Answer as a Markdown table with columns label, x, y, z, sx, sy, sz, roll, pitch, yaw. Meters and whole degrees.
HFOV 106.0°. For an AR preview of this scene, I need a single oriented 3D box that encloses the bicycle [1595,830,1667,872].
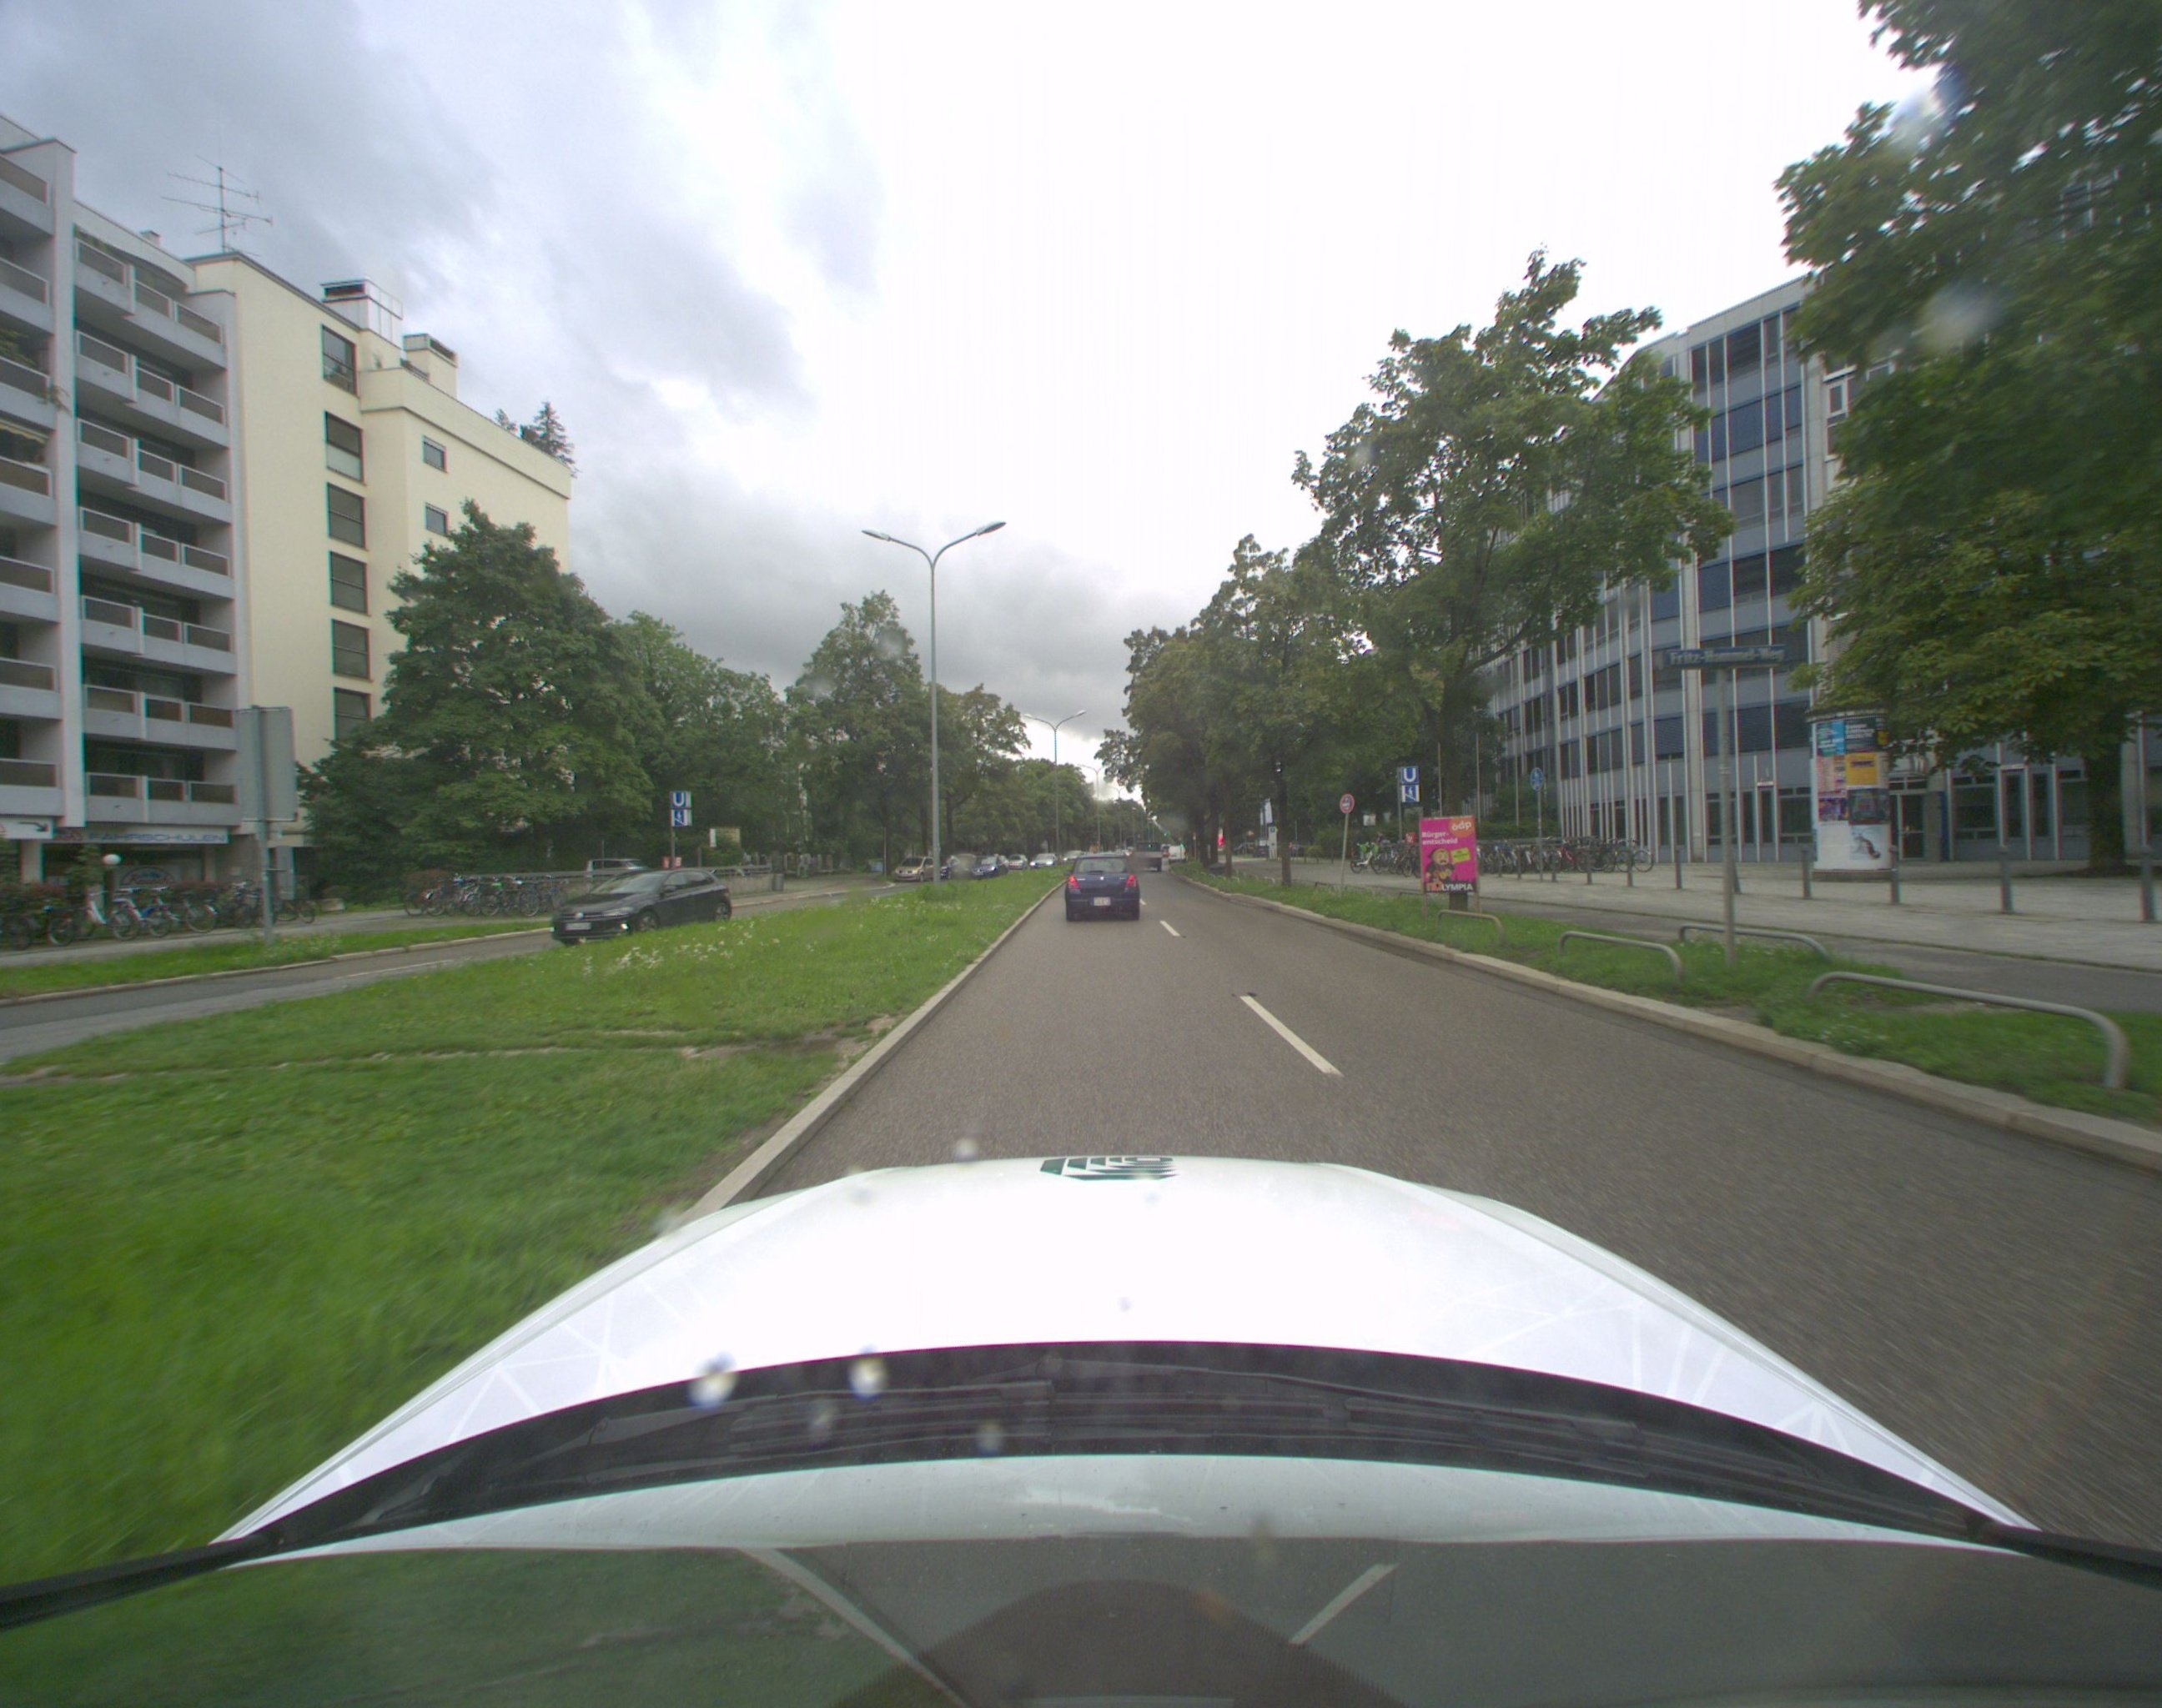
| label | x | y | z | sx | sy | sz | roll | pitch | yaw |
| --- | --- | --- | --- | --- | --- | --- | --- | --- | --- |
| bicycle | 18.025 | -0.094 | 26.769 | 0.507 | 1.294 | 2.475 | -2 | 0 | -4 |

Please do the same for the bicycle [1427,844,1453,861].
| label | x | y | z | sx | sy | sz | roll | pitch | yaw |
| --- | --- | --- | --- | --- | --- | --- | --- | --- | --- |
| bicycle | 19.687 | -0.071 | 44.702 | 0.680 | 0.853 | 1.836 | -2 | 1 | 2 |

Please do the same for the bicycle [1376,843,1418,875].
| label | x | y | z | sx | sy | sz | roll | pitch | yaw |
| --- | --- | --- | --- | --- | --- | --- | --- | --- | --- |
| bicycle | 12.467 | 0.181 | 32.073 | 1.964 | 1.083 | 0.590 | -5 | 2 | -38 |

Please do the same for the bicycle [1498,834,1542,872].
| label | x | y | z | sx | sy | sz | roll | pitch | yaw |
| --- | --- | --- | --- | --- | --- | --- | --- | --- | --- |
| bicycle | 14.559 | -0.035 | 27.078 | 0.485 | 1.189 | 1.956 | -2 | 0 | 4 |

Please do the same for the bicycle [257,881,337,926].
| label | x | y | z | sx | sy | sz | roll | pitch | yaw |
| --- | --- | --- | --- | --- | --- | --- | --- | --- | --- |
| bicycle | -21.433 | 1.345 | 22.274 | 1.936 | 1.103 | 0.490 | 2 | 1 | 10 |

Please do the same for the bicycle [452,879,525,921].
| label | x | y | z | sx | sy | sz | roll | pitch | yaw |
| --- | --- | --- | --- | --- | --- | --- | --- | --- | --- |
| bicycle | -17.180 | 1.298 | 23.674 | 0.405 | 1.072 | 1.959 | 2 | 1 | 9 |

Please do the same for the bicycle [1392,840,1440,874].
| label | x | y | z | sx | sy | sz | roll | pitch | yaw |
| --- | --- | --- | --- | --- | --- | --- | --- | --- | --- |
| bicycle | 12.221 | 0.094 | 29.676 | 2.051 | 1.089 | 0.598 | -4 | -2 | -38 |

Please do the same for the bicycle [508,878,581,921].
| label | x | y | z | sx | sy | sz | roll | pitch | yaw |
| --- | --- | --- | --- | --- | --- | --- | --- | --- | --- |
| bicycle | -15.445 | 1.294 | 23.518 | 0.405 | 1.089 | 2.090 | 2 | 1 | 9 |

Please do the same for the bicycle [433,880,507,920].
| label | x | y | z | sx | sy | sz | roll | pitch | yaw |
| --- | --- | --- | --- | --- | --- | --- | --- | --- | --- |
| bicycle | -17.762 | 1.316 | 23.726 | 0.405 | 1.030 | 1.959 | 2 | 1 | 9 |

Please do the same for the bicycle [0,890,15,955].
| label | x | y | z | sx | sy | sz | roll | pitch | yaw |
| --- | --- | --- | --- | --- | --- | --- | --- | --- | --- |
| bicycle | -23.171 | 1.312 | 16.283 | 3.306 | 1.283 | 0.790 | 2 | 1 | 10 |

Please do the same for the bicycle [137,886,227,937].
| label | x | y | z | sx | sy | sz | roll | pitch | yaw |
| --- | --- | --- | --- | --- | --- | --- | --- | --- | --- |
| bicycle | -21.902 | 1.391 | 19.852 | 1.936 | 1.103 | 0.490 | 2 | 1 | 10 |

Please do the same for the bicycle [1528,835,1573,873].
| label | x | y | z | sx | sy | sz | roll | pitch | yaw |
| --- | --- | --- | --- | --- | --- | --- | --- | --- | --- |
| bicycle | 15.389 | -0.008 | 26.742 | 0.443 | 1.189 | 1.956 | -2 | 0 | 4 |

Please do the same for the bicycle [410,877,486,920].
| label | x | y | z | sx | sy | sz | roll | pitch | yaw |
| --- | --- | --- | --- | --- | --- | --- | --- | --- | --- |
| bicycle | -18.351 | 1.271 | 23.667 | 0.405 | 1.103 | 1.959 | 2 | 1 | 9 |

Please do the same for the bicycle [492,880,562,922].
| label | x | y | z | sx | sy | sz | roll | pitch | yaw |
| --- | --- | --- | --- | --- | --- | --- | --- | --- | --- |
| bicycle | -15.973 | 1.331 | 23.531 | 0.405 | 1.078 | 1.959 | 2 | 1 | 9 |

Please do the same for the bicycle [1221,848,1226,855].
| label | x | y | z | sx | sy | sz | roll | pitch | yaw |
| --- | --- | --- | --- | --- | --- | --- | --- | --- | --- |
| bicycle | 24.488 | -0.394 | 139.959 | 0.744 | 1.183 | 2.251 | -2 | 0 | 7 |

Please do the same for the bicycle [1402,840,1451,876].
| label | x | y | z | sx | sy | sz | roll | pitch | yaw |
| --- | --- | --- | --- | --- | --- | --- | --- | --- | --- |
| bicycle | 11.924 | 0.127 | 28.060 | 2.042 | 1.099 | 0.573 | -4 | -1 | -39 |

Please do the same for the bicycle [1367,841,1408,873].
| label | x | y | z | sx | sy | sz | roll | pitch | yaw |
| --- | --- | --- | --- | --- | --- | --- | --- | --- | --- |
| bicycle | 12.517 | 0.100 | 33.181 | 1.964 | 1.108 | 0.574 | -7 | 3 | -38 |

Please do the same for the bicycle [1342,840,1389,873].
| label | x | y | z | sx | sy | sz | roll | pitch | yaw |
| --- | --- | --- | --- | --- | --- | --- | --- | --- | --- |
| bicycle | 11.841 | 0.103 | 33.876 | 1.959 | 1.188 | 0.592 | -5 | 1 | -28 |

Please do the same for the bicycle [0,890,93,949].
| label | x | y | z | sx | sy | sz | roll | pitch | yaw |
| --- | --- | --- | --- | --- | --- | --- | --- | --- | --- |
| bicycle | -22.386 | 1.388 | 17.504 | 1.936 | 1.103 | 0.561 | 2 | 1 | 10 |

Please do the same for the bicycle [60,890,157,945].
| label | x | y | z | sx | sy | sz | roll | pitch | yaw |
| --- | --- | --- | --- | --- | --- | --- | --- | --- | --- |
| bicycle | -22.165 | 1.426 | 18.559 | 1.936 | 1.103 | 0.490 | 2 | 1 | 10 |

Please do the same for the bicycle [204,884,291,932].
| label | x | y | z | sx | sy | sz | roll | pitch | yaw |
| --- | --- | --- | --- | --- | --- | --- | --- | --- | --- |
| bicycle | -21.659 | 1.392 | 21.164 | 1.936 | 1.103 | 0.561 | 2 | 1 | 10 |

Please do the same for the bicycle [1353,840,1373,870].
| label | x | y | z | sx | sy | sz | roll | pitch | yaw |
| --- | --- | --- | --- | --- | --- | --- | --- | --- | --- |
| bicycle | 12.694 | 0.036 | 36.720 | 0.527 | 1.226 | 1.867 | -4 | 1 | 11 |

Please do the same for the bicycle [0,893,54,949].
| label | x | y | z | sx | sy | sz | roll | pitch | yaw |
| --- | --- | --- | --- | --- | --- | --- | --- | --- | --- |
| bicycle | -22.504 | 1.405 | 16.925 | 1.936 | 1.103 | 0.561 | -2 | 0 | 10 |

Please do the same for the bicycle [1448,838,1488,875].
| label | x | y | z | sx | sy | sz | roll | pitch | yaw |
| --- | --- | --- | --- | --- | --- | --- | --- | --- | --- |
| bicycle | 12.859 | 0.076 | 27.107 | 0.485 | 1.189 | 1.956 | -2 | 0 | 4 |

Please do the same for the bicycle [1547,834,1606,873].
| label | x | y | z | sx | sy | sz | roll | pitch | yaw |
| --- | --- | --- | --- | --- | --- | --- | --- | --- | --- |
| bicycle | 16.053 | -0.010 | 26.440 | 0.444 | 1.189 | 2.139 | -2 | 0 | -4 |

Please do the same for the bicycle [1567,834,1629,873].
| label | x | y | z | sx | sy | sz | roll | pitch | yaw |
| --- | --- | --- | --- | --- | --- | --- | --- | --- | --- |
| bicycle | 16.600 | -0.012 | 26.219 | 0.510 | 1.189 | 2.139 | -2 | 0 | -4 |

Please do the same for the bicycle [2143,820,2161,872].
| label | x | y | z | sx | sy | sz | roll | pitch | yaw |
| --- | --- | --- | --- | --- | --- | --- | --- | --- | --- |
| bicycle | 26.342 | -0.199 | 18.915 | 0.605 | 1.260 | 2.054 | -2 | 0 | -1 |

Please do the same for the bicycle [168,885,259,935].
| label | x | y | z | sx | sy | sz | roll | pitch | yaw |
| --- | --- | --- | --- | --- | --- | --- | --- | --- | --- |
| bicycle | -21.851 | 1.392 | 20.521 | 1.936 | 1.103 | 0.561 | 2 | 1 | 10 |

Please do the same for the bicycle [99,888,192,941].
| label | x | y | z | sx | sy | sz | roll | pitch | yaw |
| --- | --- | --- | --- | --- | --- | --- | --- | --- | --- |
| bicycle | -22.021 | 1.411 | 19.171 | 1.936 | 1.103 | 0.490 | 2 | 1 | 10 |

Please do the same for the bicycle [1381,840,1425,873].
| label | x | y | z | sx | sy | sz | roll | pitch | yaw |
| --- | --- | --- | --- | --- | --- | --- | --- | --- | --- |
| bicycle | 12.124 | 0.094 | 30.649 | 1.964 | 1.066 | 0.574 | -5 | 0 | -38 |

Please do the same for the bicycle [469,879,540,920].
| label | x | y | z | sx | sy | sz | roll | pitch | yaw |
| --- | --- | --- | --- | --- | --- | --- | --- | --- | --- |
| bicycle | -16.641 | 1.302 | 23.560 | 0.405 | 1.040 | 1.959 | 2 | 1 | 9 |

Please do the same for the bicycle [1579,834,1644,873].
| label | x | y | z | sx | sy | sz | roll | pitch | yaw |
| --- | --- | --- | --- | --- | --- | --- | --- | --- | --- |
| bicycle | 17.268 | -0.019 | 26.585 | 0.576 | 1.189 | 2.139 | -2 | 0 | -4 |
